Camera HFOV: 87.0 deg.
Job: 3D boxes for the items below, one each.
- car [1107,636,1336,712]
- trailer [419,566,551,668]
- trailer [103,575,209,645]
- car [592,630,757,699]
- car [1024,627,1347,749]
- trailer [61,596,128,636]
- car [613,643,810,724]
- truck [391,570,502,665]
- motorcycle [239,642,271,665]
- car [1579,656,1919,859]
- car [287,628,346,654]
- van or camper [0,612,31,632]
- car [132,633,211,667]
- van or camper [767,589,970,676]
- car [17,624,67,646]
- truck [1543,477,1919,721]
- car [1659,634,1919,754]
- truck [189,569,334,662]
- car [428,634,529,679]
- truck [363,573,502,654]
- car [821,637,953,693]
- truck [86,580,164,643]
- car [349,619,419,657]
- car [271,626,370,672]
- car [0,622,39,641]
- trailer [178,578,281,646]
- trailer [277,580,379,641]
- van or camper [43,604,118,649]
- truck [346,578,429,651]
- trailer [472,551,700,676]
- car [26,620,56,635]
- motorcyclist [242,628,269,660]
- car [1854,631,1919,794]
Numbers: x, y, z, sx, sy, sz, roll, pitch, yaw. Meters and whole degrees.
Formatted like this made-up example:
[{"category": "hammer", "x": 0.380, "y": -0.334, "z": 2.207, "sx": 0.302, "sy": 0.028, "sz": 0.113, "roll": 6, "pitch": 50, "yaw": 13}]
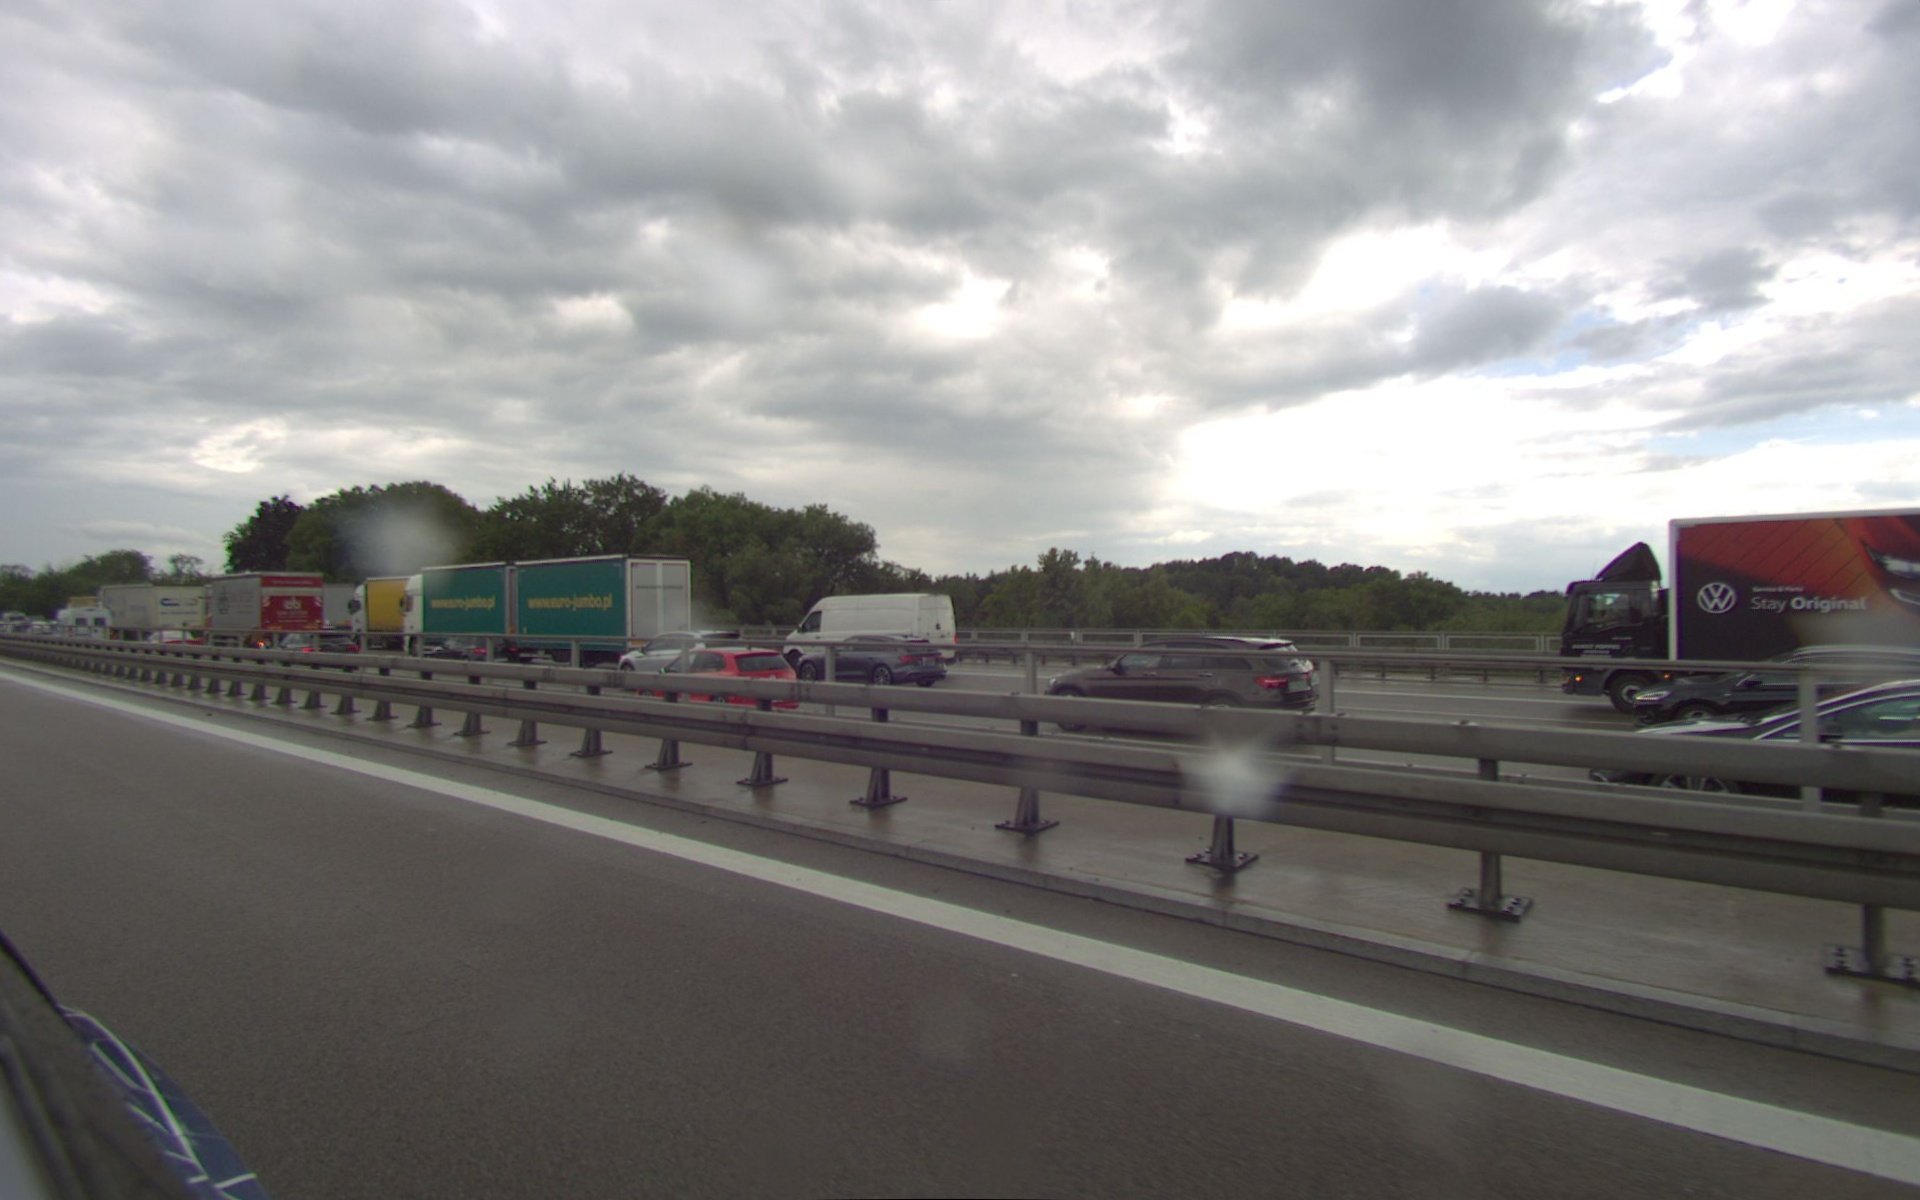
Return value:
[{"category": "car", "x": 5.212, "y": 1.422, "z": 20.509, "sx": 4.216, "sy": 1.364, "sz": 1.650, "roll": -1, "pitch": -2, "yaw": 41}, {"category": "trailer", "x": -20.339, "y": 0.709, "z": 43.188, "sx": 6.310, "sy": 4.060, "sz": 2.805, "roll": -1, "pitch": 0, "yaw": 41}, {"category": "trailer", "x": -52.259, "y": 0.728, "z": 65.572, "sx": 13.017, "sy": 4.177, "sz": 2.851, "roll": -1, "pitch": -2, "yaw": 40}, {"category": "car", "x": -7.613, "y": 1.633, "z": 26.781, "sx": 4.774, "sy": 1.637, "sz": 1.746, "roll": -1, "pitch": -2, "yaw": 39}, {"category": "car", "x": 3.595, "y": 1.329, "z": 16.913, "sx": 5.102, "sy": 1.741, "sz": 1.701, "roll": -1, "pitch": -2, "yaw": 41}, {"category": "trailer", "x": -95.753, "y": 1.801, "z": 111.856, "sx": 14.497, "sy": 4.260, "sz": 3.214, "roll": -1, "pitch": -2, "yaw": 40}, {"category": "car", "x": -5.000, "y": 1.568, "z": 20.026, "sx": 4.382, "sy": 1.364, "sz": 1.556, "roll": -1, "pitch": -2, "yaw": 41}, {"category": "truck", "x": -23.208, "y": 0.763, "z": 45.671, "sx": 4.960, "sy": 4.060, "sz": 2.816, "roll": -1, "pitch": 0, "yaw": 41}, {"category": "motorcycle", "x": -30.194, "y": 2.280, "z": 43.351, "sx": 1.788, "sy": 0.973, "sz": 0.726, "roll": -1, "pitch": -2, "yaw": 41}, {"category": "car", "x": 8.453, "y": 1.292, "z": 8.347, "sx": 5.500, "sy": 1.514, "sz": 1.701, "roll": -1, "pitch": -2, "yaw": 41}, {"category": "car", "x": -35.774, "y": 2.239, "z": 56.213, "sx": 4.191, "sy": 1.354, "sz": 1.582, "roll": -1, "pitch": -2, "yaw": 40}, {"category": "van or camper", "x": -135.446, "y": 3.190, "z": 144.969, "sx": 7.220, "sy": 2.786, "sz": 2.181, "roll": -1, "pitch": -2, "yaw": 38}, {"category": "car", "x": -36.836, "y": 2.293, "z": 47.240, "sx": 5.007, "sy": 1.429, "sz": 1.903, "roll": -1, "pitch": -2, "yaw": 40}, {"category": "van or camper", "x": -3.200, "y": 1.030, "z": 33.578, "sx": 7.358, "sy": 2.598, "sz": 2.220, "roll": -1, "pitch": -2, "yaw": 40}, {"category": "car", "x": -63.520, "y": 2.398, "z": 70.003, "sx": 5.160, "sy": 1.429, "sz": 1.903, "roll": -1, "pitch": -2, "yaw": 40}, {"category": "truck", "x": 16.367, "y": -0.026, "z": 17.678, "sx": 10.277, "sy": 3.939, "sz": 3.192, "roll": -1, "pitch": 0, "yaw": 41}, {"category": "car", "x": 12.594, "y": 1.281, "z": 14.484, "sx": 4.084, "sy": 1.547, "sz": 1.701, "roll": -1, "pitch": -2, "yaw": 41}, {"category": "truck", "x": -35.301, "y": 0.817, "z": 50.835, "sx": 12.516, "sy": 4.180, "sz": 2.953, "roll": -1, "pitch": -2, "yaw": 41}, {"category": "car", "x": -17.099, "y": 1.955, "z": 35.903, "sx": 3.998, "sy": 1.463, "sz": 1.812, "roll": -1, "pitch": -2, "yaw": 41}, {"category": "truck", "x": -29.019, "y": 0.795, "z": 55.320, "sx": 11.687, "sy": 4.012, "sz": 2.692, "roll": -1, "pitch": -2, "yaw": 41}, {"category": "car", "x": -1.979, "y": 1.688, "z": 27.009, "sx": 3.430, "sy": 1.343, "sz": 1.556, "roll": -1, "pitch": -2, "yaw": 41}, {"category": "truck", "x": -58.337, "y": 0.852, "z": 70.665, "sx": 7.551, "sy": 4.212, "sz": 2.851, "roll": -1, "pitch": -2, "yaw": 40}, {"category": "car", "x": -29.456, "y": 1.896, "z": 51.711, "sx": 3.999, "sy": 1.844, "sz": 1.972, "roll": -1, "pitch": -1, "yaw": 42}, {"category": "car", "x": -22.033, "y": 1.633, "z": 34.822, "sx": 3.998, "sy": 1.463, "sz": 1.812, "roll": -1, "pitch": -2, "yaw": 41}, {"category": "car", "x": -73.211, "y": 2.431, "z": 78.453, "sx": 5.455, "sy": 1.397, "sz": 1.994, "roll": -1, "pitch": -2, "yaw": 40}, {"category": "trailer", "x": -49.344, "y": 0.856, "z": 68.139, "sx": 13.024, "sy": 4.177, "sz": 2.850, "roll": -1, "pitch": -2, "yaw": 42}, {"category": "trailer", "x": -44.955, "y": 0.801, "z": 71.739, "sx": 12.301, "sy": 4.024, "sz": 2.729, "roll": -1, "pitch": -2, "yaw": 41}, {"category": "van or camper", "x": -52.398, "y": 1.558, "z": 60.214, "sx": 7.296, "sy": 2.515, "sz": 2.255, "roll": -1, "pitch": -2, "yaw": 40}, {"category": "truck", "x": -33.546, "y": 0.844, "z": 59.262, "sx": 5.106, "sy": 4.100, "sz": 2.674, "roll": -1, "pitch": -1, "yaw": 41}, {"category": "trailer", "x": -14.353, "y": 0.513, "z": 37.968, "sx": 11.596, "sy": 4.092, "sz": 2.789, "roll": -1, "pitch": 0, "yaw": 41}, {"category": "car", "x": -121.474, "y": 3.608, "z": 133.790, "sx": 5.404, "sy": 2.029, "sz": 1.975, "roll": -1, "pitch": -1, "yaw": 38}, {"category": "motorcyclist", "x": -30.177, "y": 1.887, "z": 43.345, "sx": 1.029, "sy": 1.351, "sz": 0.720, "roll": -1, "pitch": -2, "yaw": 41}, {"category": "car", "x": 12.222, "y": 1.169, "z": 9.973, "sx": 5.053, "sy": 1.713, "sz": 1.701, "roll": -1, "pitch": -2, "yaw": 41}]
